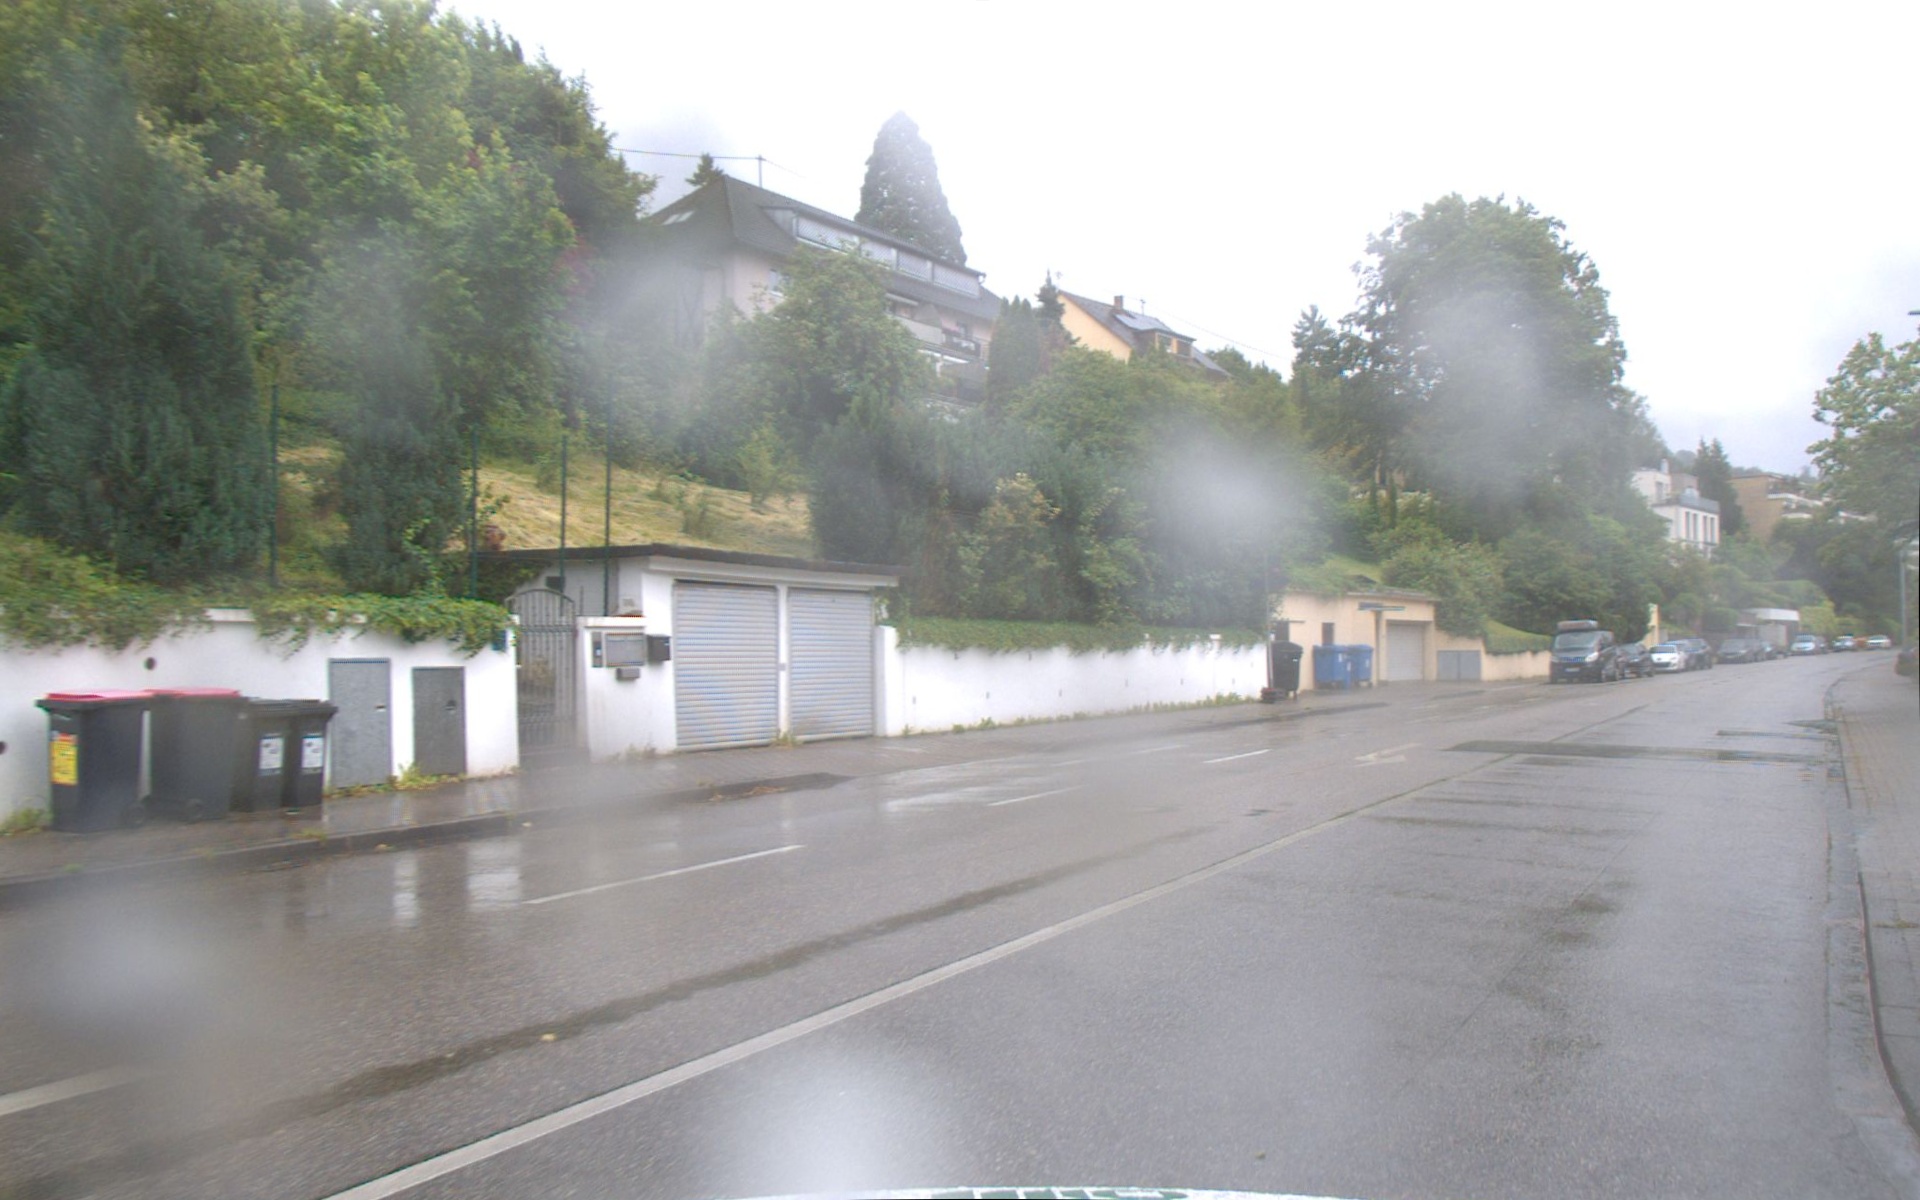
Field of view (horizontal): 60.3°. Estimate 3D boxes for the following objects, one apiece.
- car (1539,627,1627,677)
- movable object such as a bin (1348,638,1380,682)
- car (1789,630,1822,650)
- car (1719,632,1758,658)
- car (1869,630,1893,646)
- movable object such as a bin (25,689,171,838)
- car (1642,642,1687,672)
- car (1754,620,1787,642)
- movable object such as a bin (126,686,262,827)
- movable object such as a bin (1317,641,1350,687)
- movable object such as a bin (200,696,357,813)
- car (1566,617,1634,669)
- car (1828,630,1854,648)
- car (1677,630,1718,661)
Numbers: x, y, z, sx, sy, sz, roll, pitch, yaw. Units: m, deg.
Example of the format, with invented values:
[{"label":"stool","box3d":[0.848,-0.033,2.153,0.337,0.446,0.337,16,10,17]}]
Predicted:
[{"label":"car","box3d":[24.091,1.979,63.827,2.254,1.783,5.168,-2,-1,31]},{"label":"movable object such as a bin","box3d":[12.951,1.916,52.993,0.699,1.359,0.831,-2,-1,35]},{"label":"car","box3d":[68.168,3.234,133.362,1.791,1.482,3.801,-2,-1,36]},{"label":"car","box3d":[49.904,2.869,105.967,1.684,1.578,3.804,-2,-1,34]},{"label":"car","box3d":[92.939,3.865,166.884,1.698,1.482,3.801,-2,-1,36]},{"label":"movable object such as a bin","box3d":[-6.650,1.244,12.776,0.673,1.079,0.753,-2,-2,26]},{"label":"car","box3d":[35.209,2.834,82.577,1.678,1.368,3.674,-2,-1,29]},{"label":"car","box3d":[59.868,2.271,122.151,1.696,1.482,3.806,-2,-1,33]},{"label":"movable object such as a bin","box3d":[-6.227,1.253,13.461,0.622,1.079,0.793,-2,-2,26]},{"label":"movable object such as a bin","box3d":[11.534,1.974,51.090,0.699,1.359,0.831,-2,-1,35]},{"label":"movable object such as a bin","box3d":[-5.958,1.336,14.482,0.832,0.932,0.953,-2,-1,25]},{"label":"car","box3d":[26.690,1.758,68.902,1.957,2.049,3.991,-2,-1,31]},{"label":"car","box3d":[81.018,3.582,152.125,1.725,1.482,3.805,-2,-1,33]},{"label":"car","box3d":[40.506,2.507,90.815,1.699,1.578,3.810,-2,-1,29]}]
